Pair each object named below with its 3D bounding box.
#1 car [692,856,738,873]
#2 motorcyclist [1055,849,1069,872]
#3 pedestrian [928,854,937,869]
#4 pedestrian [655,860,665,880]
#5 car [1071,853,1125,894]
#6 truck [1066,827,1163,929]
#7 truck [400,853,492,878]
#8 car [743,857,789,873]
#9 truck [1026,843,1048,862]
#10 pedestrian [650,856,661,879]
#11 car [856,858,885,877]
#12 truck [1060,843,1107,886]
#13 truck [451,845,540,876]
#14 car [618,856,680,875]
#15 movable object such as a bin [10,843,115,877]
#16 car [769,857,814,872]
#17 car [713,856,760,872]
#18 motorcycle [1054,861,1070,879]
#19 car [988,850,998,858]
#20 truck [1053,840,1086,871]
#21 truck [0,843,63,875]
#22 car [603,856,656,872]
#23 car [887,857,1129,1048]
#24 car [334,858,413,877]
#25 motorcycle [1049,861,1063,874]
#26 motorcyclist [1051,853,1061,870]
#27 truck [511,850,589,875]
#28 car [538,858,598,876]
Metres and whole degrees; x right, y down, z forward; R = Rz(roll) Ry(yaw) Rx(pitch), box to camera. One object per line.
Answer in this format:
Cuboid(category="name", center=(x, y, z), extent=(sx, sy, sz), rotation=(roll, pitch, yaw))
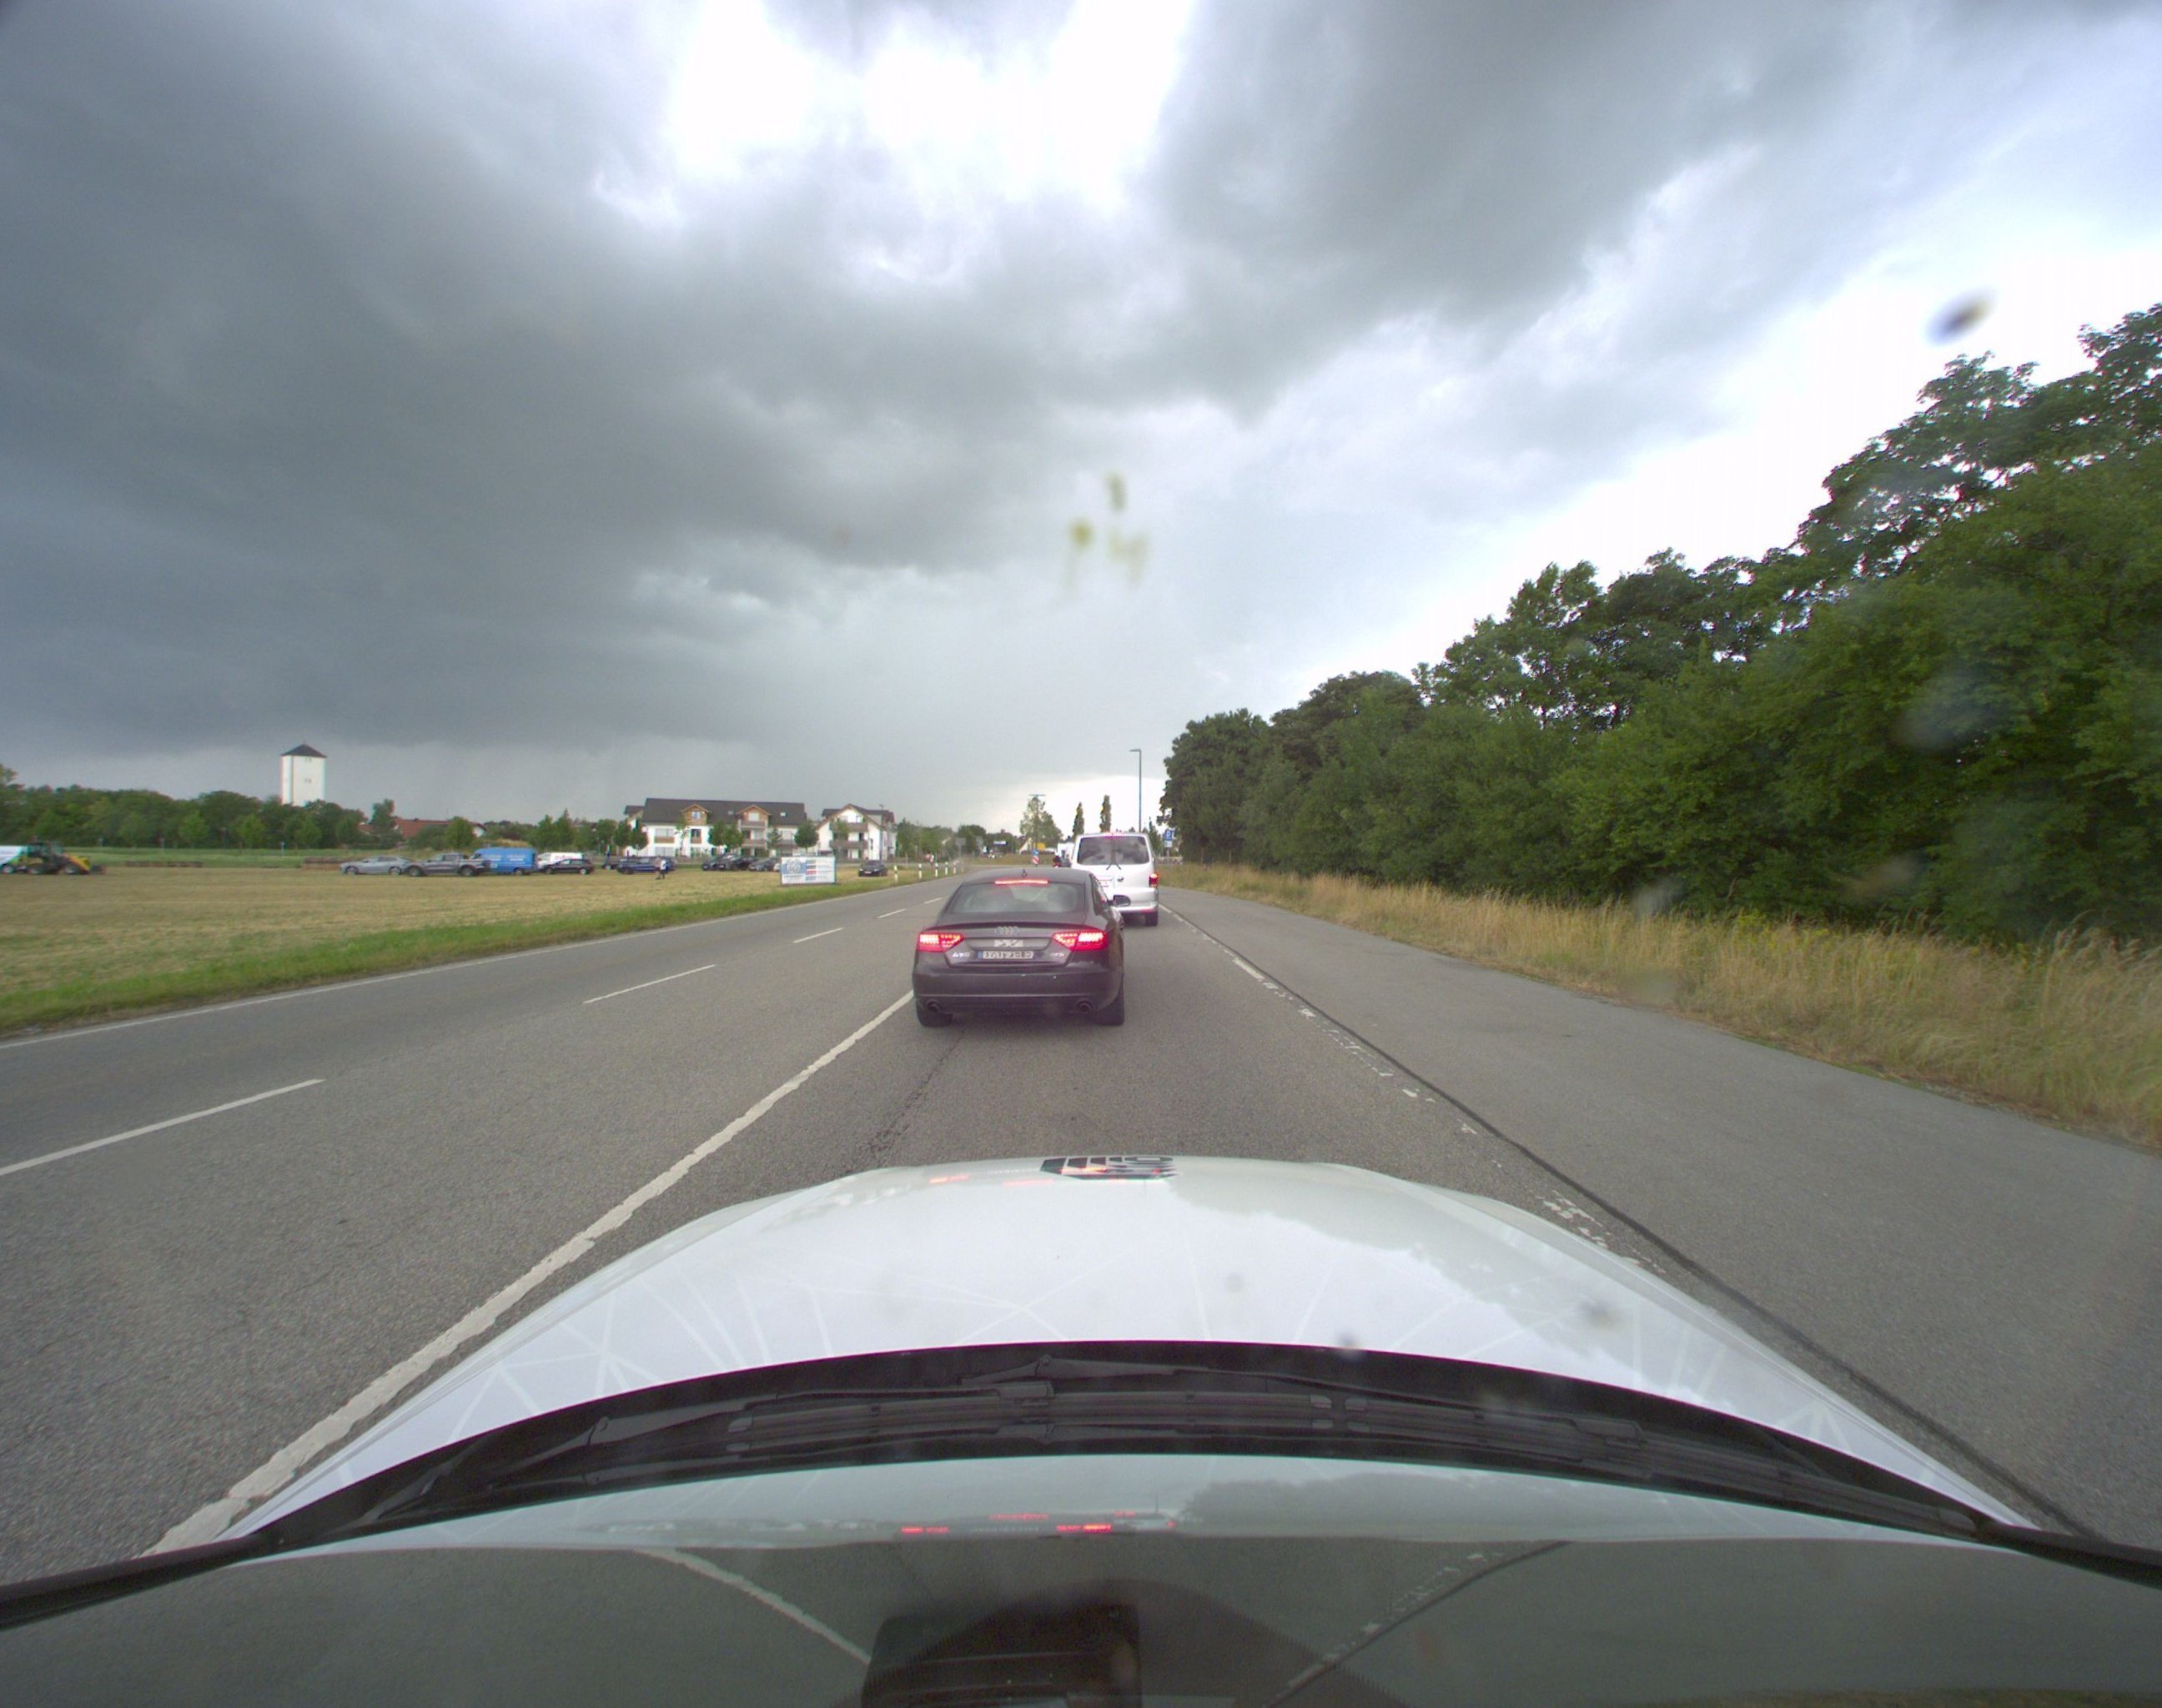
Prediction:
Cuboid(category="car", center=(-37.679, 1.041, 83.967), extent=(1.977, 1.629, 4.232), rotation=(0, 0, 20))
Cuboid(category="motorcyclist", center=(-1.174, 0.396, 50.485), extent=(0.769, 1.383, 0.820), rotation=(0, 0, 1))
Cuboid(category="pedestrian", center=(-15.421, 0.790, 84.405), extent=(0.661, 1.586, 0.695), rotation=(0, -1, -39))
Cuboid(category="pedestrian", center=(-32.214, 1.201, 62.316), extent=(0.591, 1.555, 0.622), rotation=(0, -1, -18))
Cuboid(category="car", center=(0.647, 0.726, 31.674), extent=(1.986, 1.485, 4.000), rotation=(0, 0, 1))
Cuboid(category="truck", center=(0.729, 0.476, 18.307), extent=(1.897, 1.998, 4.630), rotation=(0, 0, 2))
Cuboid(category="truck", center=(-49.046, 0.867, 63.082), extent=(5.252, 1.920, 2.095), rotation=(0, 0, -25))
Cuboid(category="car", center=(-31.418, 1.051, 81.353), extent=(1.977, 1.536, 4.232), rotation=(0, 0, 20))
Cuboid(category="truck", center=(-8.819, -0.345, 162.363), extent=(3.573, 3.578, 9.930), rotation=(1, 0, -8))
Cuboid(category="pedestrian", center=(-32.145, 1.011, 61.514), extent=(0.548, 1.786, 0.676), rotation=(0, -1, -10))
Cuboid(category="car", center=(-17.491, 1.099, 67.900), extent=(1.993, 1.442, 3.987), rotation=(0, 1, -9))
Cuboid(category="truck", center=(0.185, 0.512, 40.800), extent=(2.185, 2.014, 5.087), rotation=(0, 0, 2))
Cuboid(category="truck", center=(-48.236, 0.551, 67.239), extent=(5.469, 2.446, 2.377), rotation=(0, 0, -22))
Cuboid(category="car", center=(-39.259, 1.071, 74.162), extent=(4.730, 1.697, 1.987), rotation=(0, 0, -19))
Cuboid(category="movable object such as a bin", center=(-69.401, 0.406, 55.575), extent=(4.006, 2.243, 1.869), rotation=(0, 0, -27))
Cuboid(category="car", center=(-28.689, 1.029, 80.857), extent=(1.977, 1.446, 4.232), rotation=(0, 0, 20))
Cuboid(category="car", center=(-34.570, 0.973, 81.820), extent=(1.977, 1.629, 4.232), rotation=(0, 0, 20))
Cuboid(category="motorcycle", center=(-1.180, 0.965, 50.578), extent=(0.917, 1.094, 2.189), rotation=(0, 0, 1))
Cuboid(category="car", center=(-20.063, 0.008, 185.046), extent=(1.989, 1.642, 3.996), rotation=(1, 0, -3))
Cuboid(category="truck", center=(-1.137, 0.177, 75.397), extent=(2.622, 2.737, 5.856), rotation=(1, 0, -5))
Cuboid(category="truck", center=(-75.918, 0.342, 56.425), extent=(6.075, 2.217, 2.697), rotation=(0, 0, -26))
Cuboid(category="car", center=(-47.512, 1.011, 85.820), extent=(4.639, 1.697, 1.987), rotation=(0, 0, -19))
Cuboid(category="car", center=(-0.455, 0.769, 8.367), extent=(1.867, 1.454, 4.180), rotation=(0, 0, 3))
Cuboid(category="car", center=(-55.872, 1.035, 64.410), extent=(4.316, 1.461, 1.876), rotation=(0, 0, -25))
Cuboid(category="motorcycle", center=(-1.957, 1.050, 64.078), extent=(0.941, 1.019, 2.284), rotation=(0, 0, 1))
Cuboid(category="motorcyclist", center=(-1.949, 0.590, 63.969), extent=(0.783, 1.356, 0.854), rotation=(0, 0, 0))
Cuboid(category="truck", center=(-48.692, 0.773, 74.829), extent=(5.586, 2.196, 2.588), rotation=(0, 0, -22))
Cuboid(category="car", center=(-45.261, 1.109, 71.936), extent=(4.168, 1.519, 1.987), rotation=(0, 0, -19))
